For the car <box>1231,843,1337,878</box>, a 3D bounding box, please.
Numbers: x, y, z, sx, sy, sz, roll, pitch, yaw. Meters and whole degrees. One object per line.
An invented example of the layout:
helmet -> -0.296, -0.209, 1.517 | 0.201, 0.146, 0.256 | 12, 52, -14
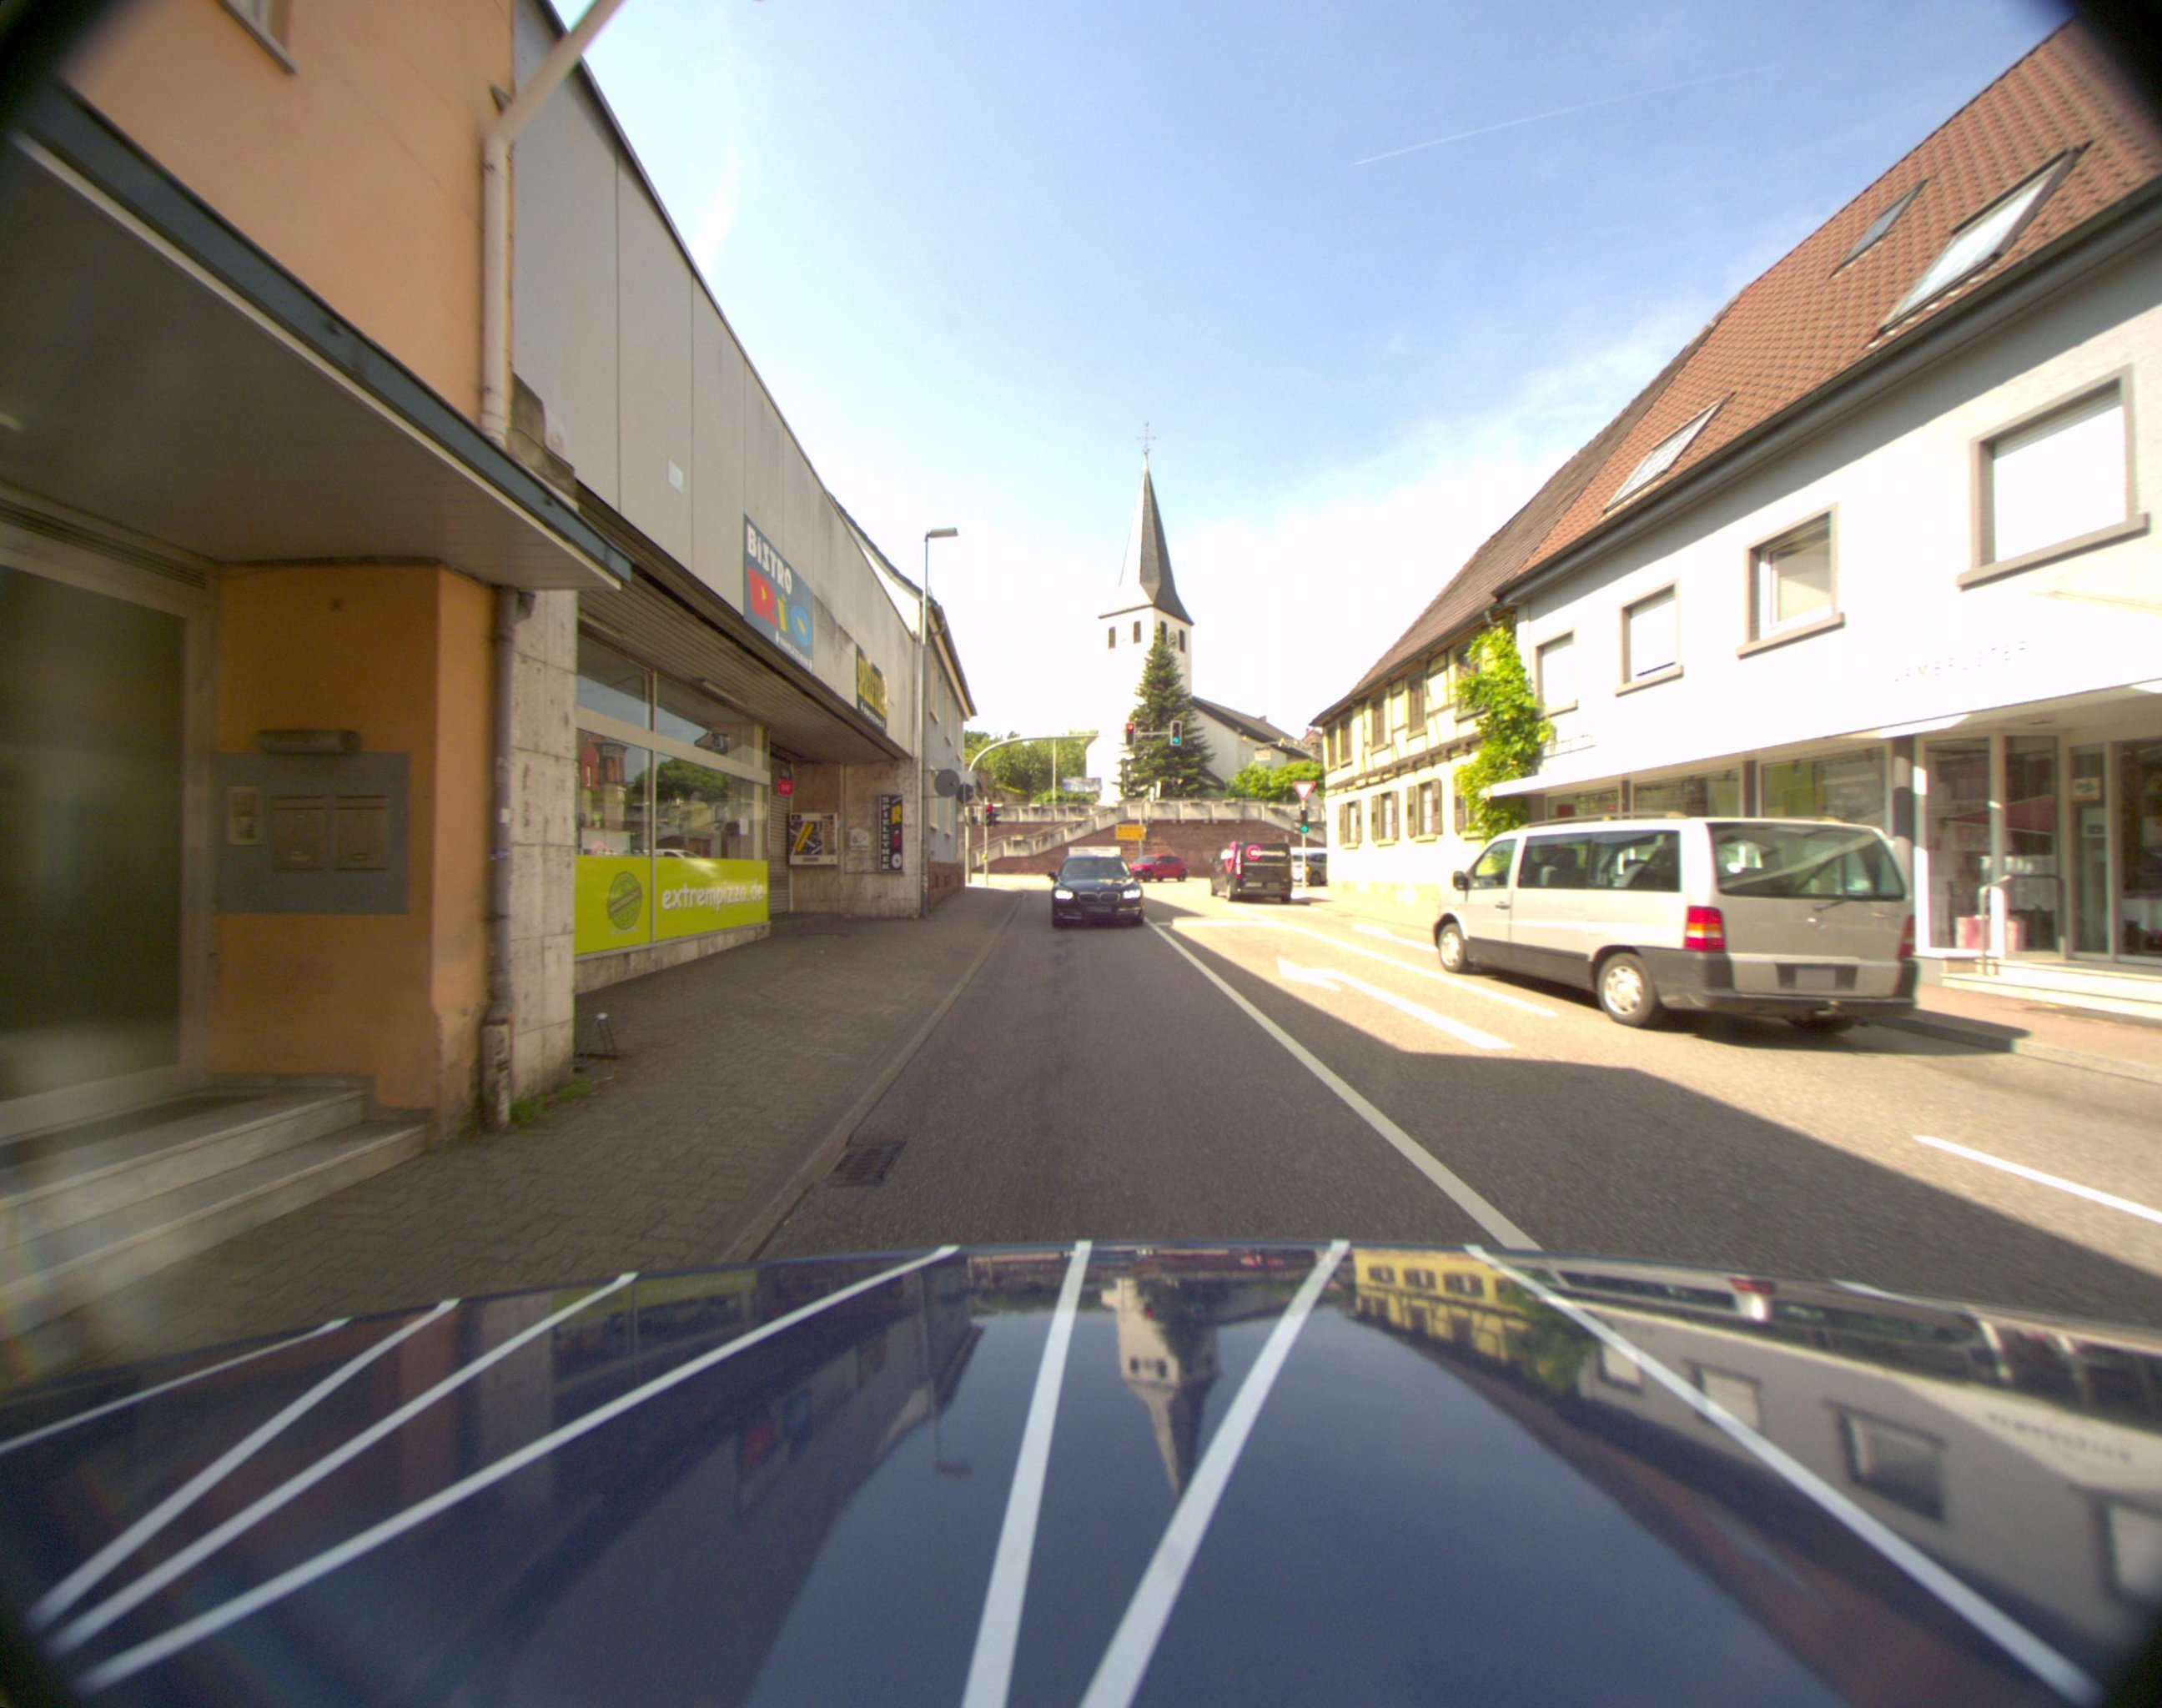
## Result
car -> 11.866, 0.357, 44.763 | 5.586, 1.879, 2.295 | 2, 0, 2

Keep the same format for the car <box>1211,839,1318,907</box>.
car -> 5.820, 0.553, 24.892 | 2.164, 1.912, 5.165 | 3, 0, 0

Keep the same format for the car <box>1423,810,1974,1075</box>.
car -> 5.557, 0.655, 7.851 | 1.888, 1.879, 4.551 | 2, 0, -1

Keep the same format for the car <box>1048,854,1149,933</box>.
car -> 0.350, 0.732, 16.051 | 1.825, 1.426, 4.248 | 0, 0, 1

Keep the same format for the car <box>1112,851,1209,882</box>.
car -> 4.217, 0.596, 39.844 | 4.957, 1.506, 2.160 | 0, 1, -39

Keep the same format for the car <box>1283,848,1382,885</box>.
car -> 12.302, 0.613, 37.142 | 4.434, 1.601, 1.757 | 2, 2, -22
